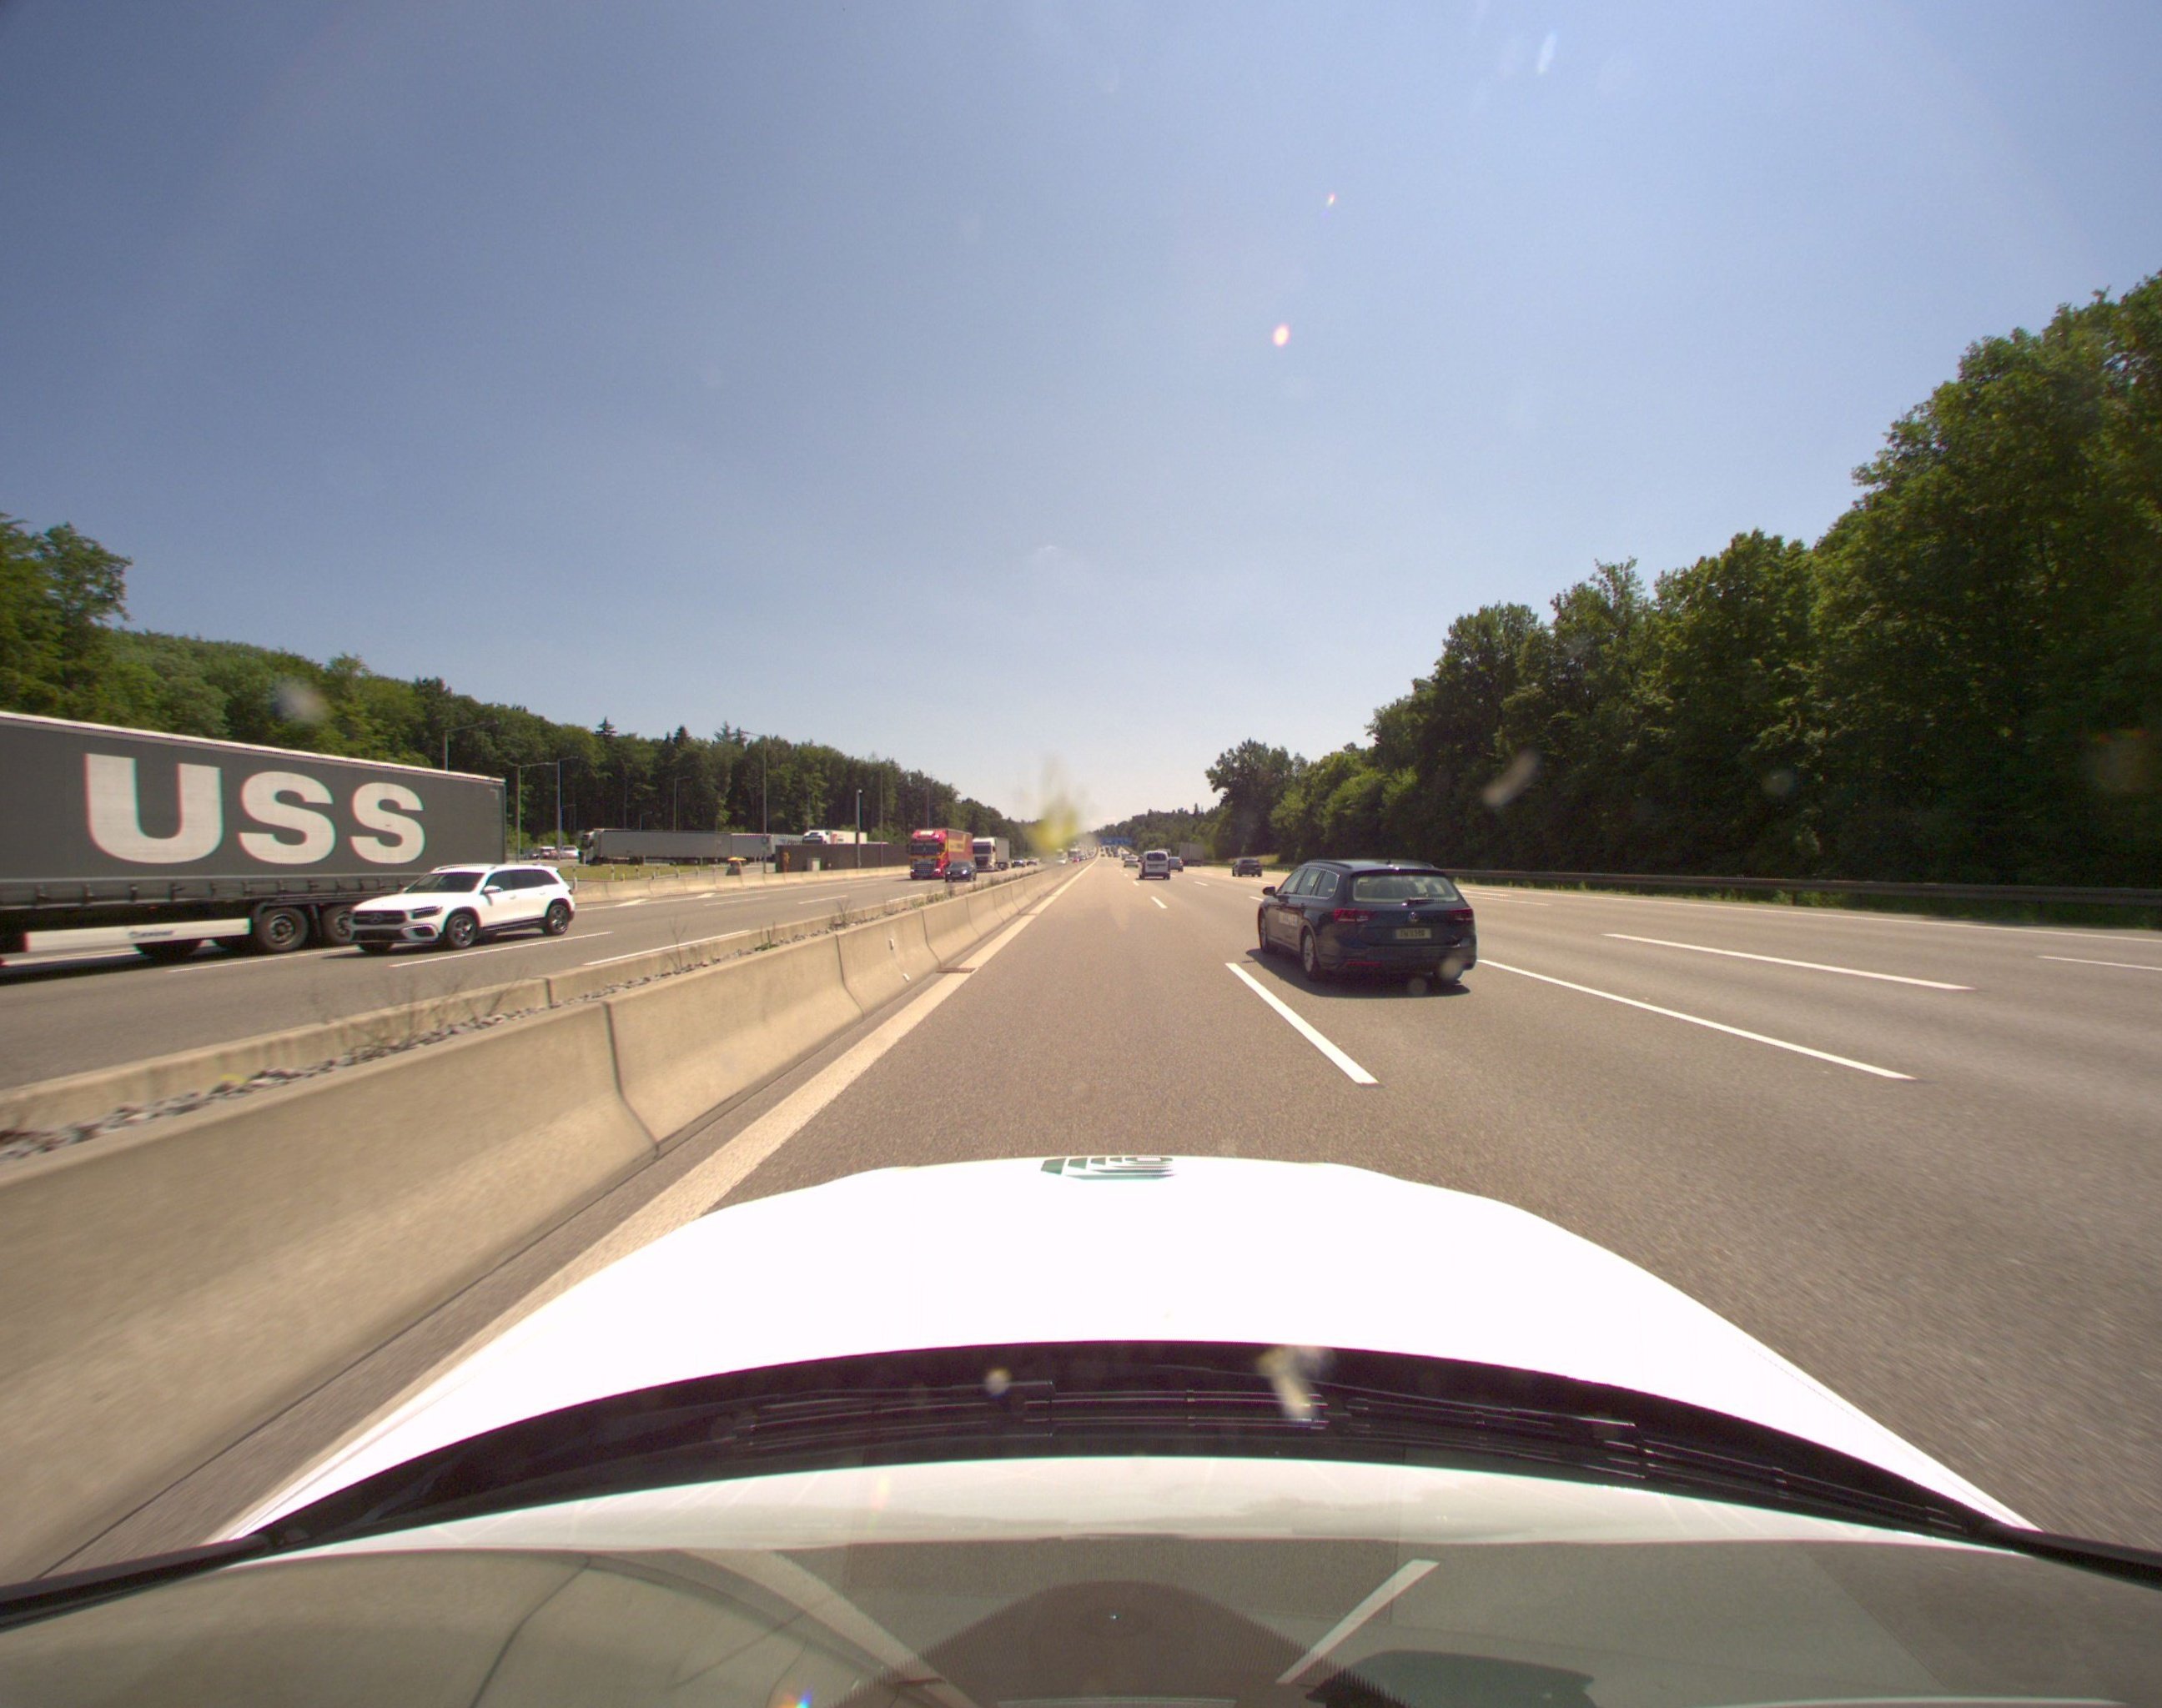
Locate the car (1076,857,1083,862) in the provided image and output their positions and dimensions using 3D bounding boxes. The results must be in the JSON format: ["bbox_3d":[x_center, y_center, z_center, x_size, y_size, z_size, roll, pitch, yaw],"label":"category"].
[{"bbox_3d":[-0.545,1.619,244.224,1.987,1.663,5.753,-1,0,0],"label":"car"}]

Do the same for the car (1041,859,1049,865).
[{"bbox_3d":[-8.985,1.906,201.708,1.724,1.513,4.172,0,0,1],"label":"car"}]

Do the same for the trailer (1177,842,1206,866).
[{"bbox_3d":[19.290,-0.152,143.028,3.276,3.930,13.893,1,1,1],"label":"trailer"}]

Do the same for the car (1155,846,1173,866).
[{"bbox_3d":[11.642,0.243,114.673,2.136,2.652,5.712,1,1,1],"label":"car"}]

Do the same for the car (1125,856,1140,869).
[{"bbox_3d":[6.718,1.095,106.933,1.836,1.629,4.555,-1,0,2],"label":"car"}]

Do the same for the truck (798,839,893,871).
[{"bbox_3d":[-42.377,0.132,147.544,16.806,5.613,3.408,0,0,-44],"label":"truck"}]

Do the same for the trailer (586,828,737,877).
[{"bbox_3d":[-46.246,-0.165,90.563,14.650,5.072,3.091,0,0,-44],"label":"trailer"}]

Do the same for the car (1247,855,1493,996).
[{"bbox_3d":[3.553,0.762,11.069,1.723,1.447,4.964,-1,0,2],"label":"car"}]

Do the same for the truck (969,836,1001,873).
[{"bbox_3d":[-10.959,0.058,93.519,2.725,4.031,6.783,-1,0,1],"label":"truck"}]

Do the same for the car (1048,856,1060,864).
[{"bbox_3d":[-5.527,1.218,166.295,1.986,1.774,5.925,-1,0,1],"label":"car"}]

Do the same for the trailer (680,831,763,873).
[{"bbox_3d":[-49.273,-0.246,111.861,9.997,5.613,3.188,0,0,-44],"label":"trailer"}]

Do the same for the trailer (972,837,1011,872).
[{"bbox_3d":[-10.839,0.062,100.043,2.744,4.001,14.471,-1,0,1],"label":"trailer"}]

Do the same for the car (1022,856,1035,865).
[{"bbox_3d":[-10.271,1.237,159.352,1.986,1.774,5.925,-1,0,1],"label":"car"}]

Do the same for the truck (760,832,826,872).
[{"bbox_3d":[-42.008,-0.318,118.999,8.537,5.613,3.188,0,0,-44],"label":"truck"}]

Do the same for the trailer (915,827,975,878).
[{"bbox_3d":[-11.753,-0.112,72.130,2.562,4.050,14.186,-1,0,1],"label":"trailer"}]

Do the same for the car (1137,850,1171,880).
[{"bbox_3d":[4.686,0.707,52.772,1.853,1.826,4.613,-1,0,1],"label":"car"}]

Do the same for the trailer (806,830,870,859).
[{"bbox_3d":[-28.488,-1.006,96.448,2.961,3.124,14.613,0,0,1],"label":"trailer"}]

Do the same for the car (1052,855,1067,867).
[{"bbox_3d":[-3.398,1.103,129.042,1.986,1.774,5.040,-1,0,1],"label":"car"}]

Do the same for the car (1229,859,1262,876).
[{"bbox_3d":[12.360,0.995,61.372,1.664,1.273,4.291,1,0,1],"label":"car"}]

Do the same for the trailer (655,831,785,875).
[{"bbox_3d":[-44.834,-0.114,101.795,14.650,5.072,3.184,0,0,-44],"label":"trailer"}]

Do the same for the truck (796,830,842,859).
[{"bbox_3d":[-28.661,-0.987,89.365,2.916,3.124,6.204,0,0,1],"label":"truck"}]

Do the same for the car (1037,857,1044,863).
[{"bbox_3d":[-12.278,1.812,246.281,1.987,1.621,4.213,-1,0,0],"label":"car"}]

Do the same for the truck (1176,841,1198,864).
[{"bbox_3d":[19.442,-0.365,149.575,3.243,4.106,5.989,1,1,1],"label":"truck"}]

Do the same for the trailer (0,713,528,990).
[{"bbox_3d":[-17.182,0.011,15.416,3.330,4.001,14.282,-1,0,1],"label":"trailer"}]

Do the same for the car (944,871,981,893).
[{"bbox_3d":[-8.214,1.921,56.585,1.814,1.387,4.317,-1,0,1],"label":"car"}]

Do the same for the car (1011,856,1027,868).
[{"bbox_3d":[-10.008,1.256,131.080,1.986,1.774,5.040,-1,0,1],"label":"car"}]

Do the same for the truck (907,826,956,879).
[{"bbox_3d":[-11.909,-0.123,65.407,2.518,4.049,6.474,-1,0,1],"label":"truck"}]

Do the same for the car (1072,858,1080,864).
[{"bbox_3d":[-1.292,1.903,210.436,1.724,1.513,5.045,0,0,1],"label":"car"}]

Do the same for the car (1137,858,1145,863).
[{"bbox_3d":[16.973,1.929,230.432,1.829,1.338,3.644,-1,0,1],"label":"car"}]

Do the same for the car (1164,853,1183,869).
[{"bbox_3d":[9.152,0.723,80.528,1.498,1.500,3.651,-1,0,1],"label":"car"}]

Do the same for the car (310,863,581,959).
[{"bbox_3d":[-13.007,1.072,17.158,1.986,1.670,4.613,-1,0,1],"label":"car"}]
